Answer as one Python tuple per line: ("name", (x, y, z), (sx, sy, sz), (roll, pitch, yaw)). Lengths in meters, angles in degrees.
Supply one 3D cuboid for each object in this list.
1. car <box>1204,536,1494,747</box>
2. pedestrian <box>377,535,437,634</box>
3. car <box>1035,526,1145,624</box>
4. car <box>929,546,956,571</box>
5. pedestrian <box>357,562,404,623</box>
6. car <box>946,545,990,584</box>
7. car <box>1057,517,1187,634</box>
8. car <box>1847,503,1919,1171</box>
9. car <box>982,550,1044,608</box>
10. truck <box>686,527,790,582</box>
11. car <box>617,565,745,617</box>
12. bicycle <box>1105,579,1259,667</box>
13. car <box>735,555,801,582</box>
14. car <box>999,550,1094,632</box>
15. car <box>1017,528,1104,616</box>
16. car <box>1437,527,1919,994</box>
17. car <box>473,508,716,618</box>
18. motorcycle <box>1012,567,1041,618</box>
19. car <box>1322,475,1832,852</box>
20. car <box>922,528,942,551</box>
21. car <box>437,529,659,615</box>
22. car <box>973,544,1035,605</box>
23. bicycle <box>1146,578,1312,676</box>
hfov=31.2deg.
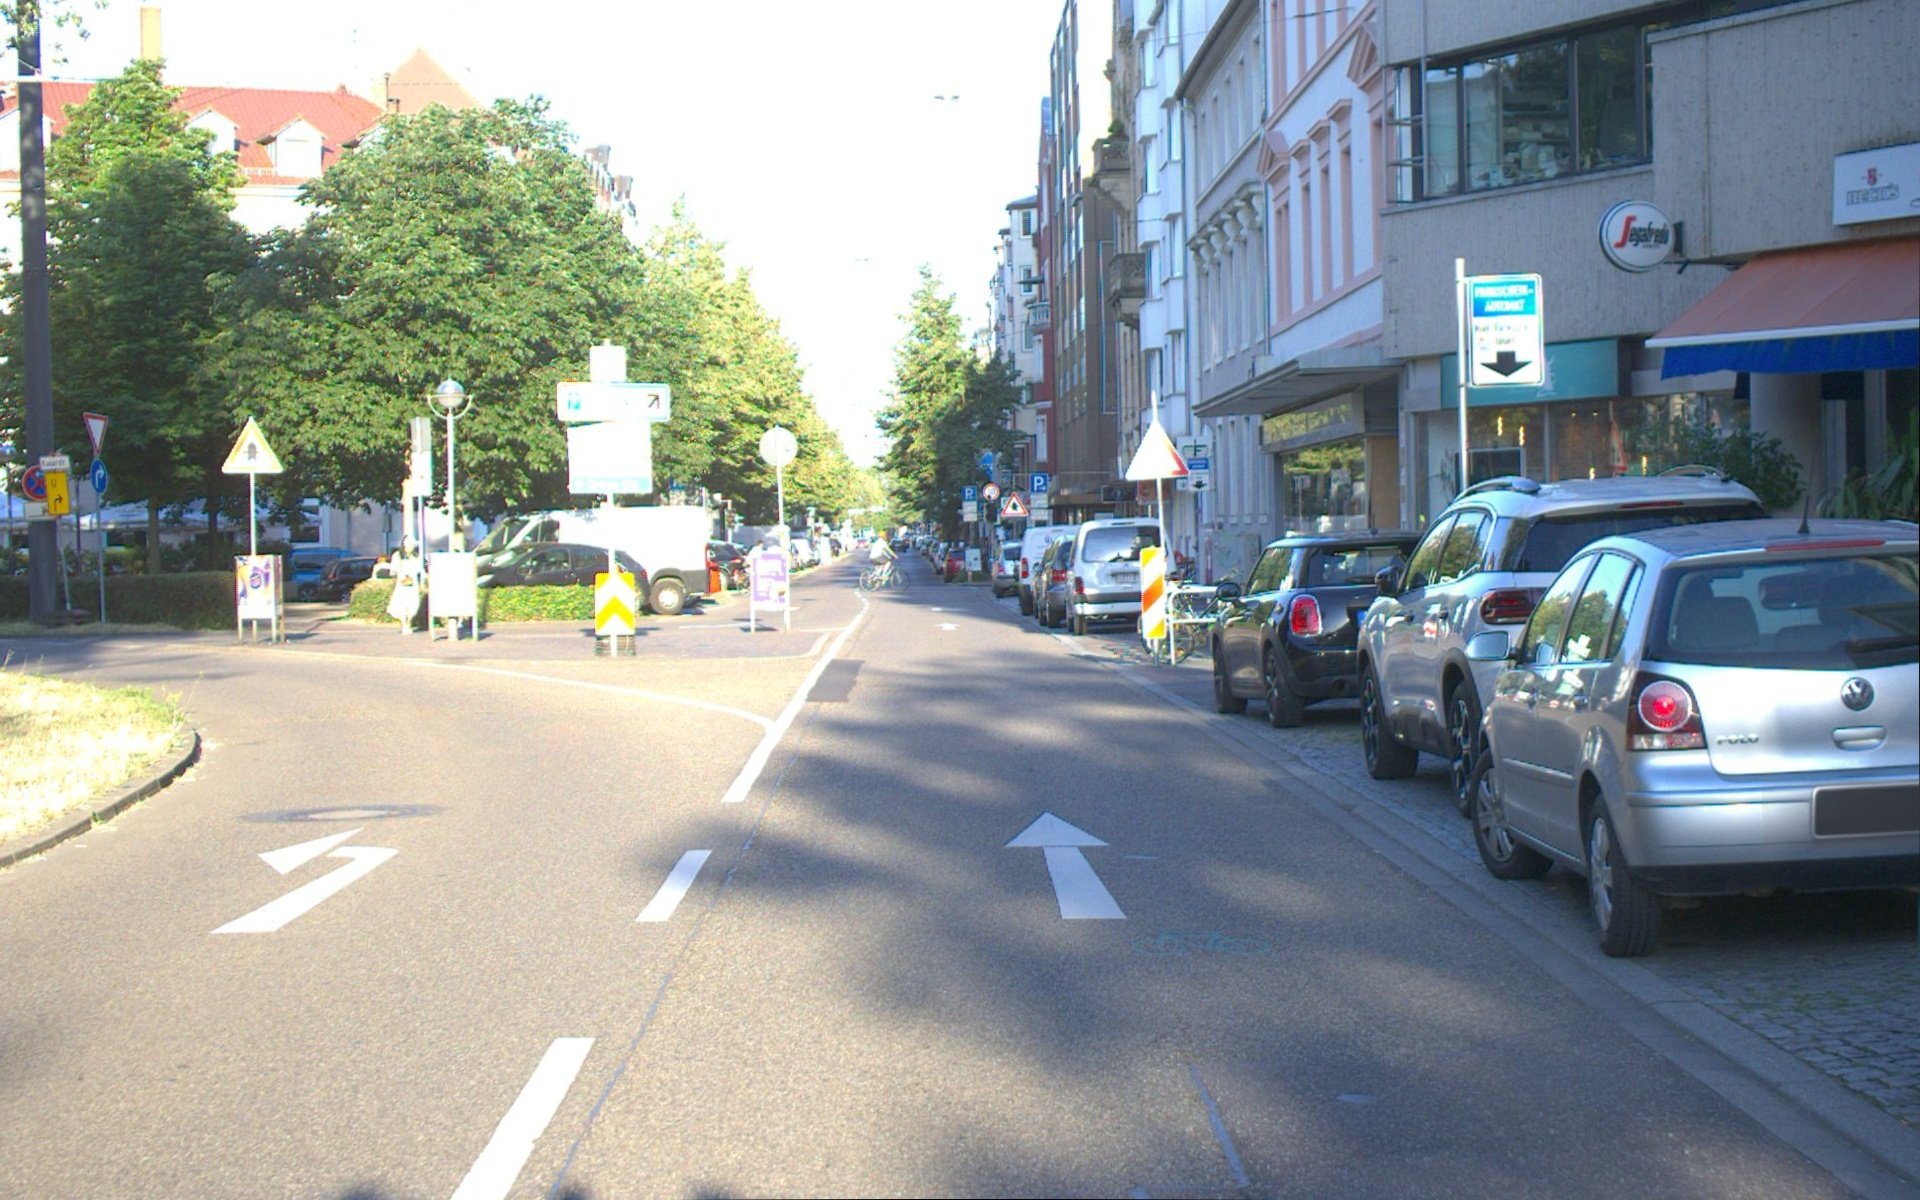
("car", (2.914, 0.262, 26.511), (1.790, 1.502, 3.921), (0, 1, 0))
("pedestrian", (-8.775, -0.247, 54.565), (0.697, 1.553, 0.694), (-1, 1, -38))
("car", (2.251, -0.451, 60.271), (1.656, 1.659, 4.108), (0, 1, -2))
("car", (-0.916, -2.147, 178.284), (1.206, 1.296, 2.661), (0, 0, -4))
("pedestrian", (-12.244, -0.155, 72.605), (0.747, 1.273, 0.661), (-1, 1, -38))
("car", (0.312, -1.507, 146.276), (1.576, 1.537, 3.397), (-3, 0, -4))
("car", (2.556, -0.399, 55.026), (1.792, 1.785, 4.092), (-1, 1, -1))
("car", (3.128, 0.591, 6.925), (1.584, 1.585, 3.668), (0, 1, -2))
("car", (1.552, -0.622, 99.272), (1.680, 1.556, 4.000), (-2, 1, 1))
("truck", (-10.881, -2.216, 168.791), (4.940, 2.606, 2.000), (-1, 0, -1))
("car", (-9.957, -0.341, 122.743), (4.448, 1.829, 2.034), (0, 1, -1))
("bicycle", (2.791, 0.294, 43.197), (1.790, 0.986, 0.541), (-3, 2, 22))
("car", (-11.251, -1.844, 201.667), (3.739, 1.487, 2.000), (-1, 1, -1))
("car", (1.662, -0.199, 67.049), (1.667, 1.539, 3.883), (0, 1, -1))
("car", (2.109, -0.621, 73.053), (1.710, 1.829, 4.306), (0, 1, 0))
("car", (2.946, 0.484, 13.193), (1.641, 1.523, 4.000), (0, 1, 0))
("car", (-7.693, -0.771, 72.420), (4.598, 2.243, 2.203), (0, 0, -27))
("motorcycle", (1.590, -0.192, 82.672), (0.588, 1.196, 2.210), (0, 1, -1))
("car", (3.181, 0.258, 18.624), (1.783, 1.798, 4.402), (0, 1, -3))
("car", (-2.042, -4.366, 249.136), (1.308, 1.594, 2.661), (0, 1, -4))
("car", (-7.890, -0.563, 65.969), (3.873, 1.577, 1.802), (-1, 2, -40))
("car", (1.324, -0.784, 104.317), (1.696, 1.763, 4.000), (-1, 1, -2))
("bicycle", (3.080, 0.306, 39.280), (1.788, 0.986, 0.542), (-3, 2, 11))
